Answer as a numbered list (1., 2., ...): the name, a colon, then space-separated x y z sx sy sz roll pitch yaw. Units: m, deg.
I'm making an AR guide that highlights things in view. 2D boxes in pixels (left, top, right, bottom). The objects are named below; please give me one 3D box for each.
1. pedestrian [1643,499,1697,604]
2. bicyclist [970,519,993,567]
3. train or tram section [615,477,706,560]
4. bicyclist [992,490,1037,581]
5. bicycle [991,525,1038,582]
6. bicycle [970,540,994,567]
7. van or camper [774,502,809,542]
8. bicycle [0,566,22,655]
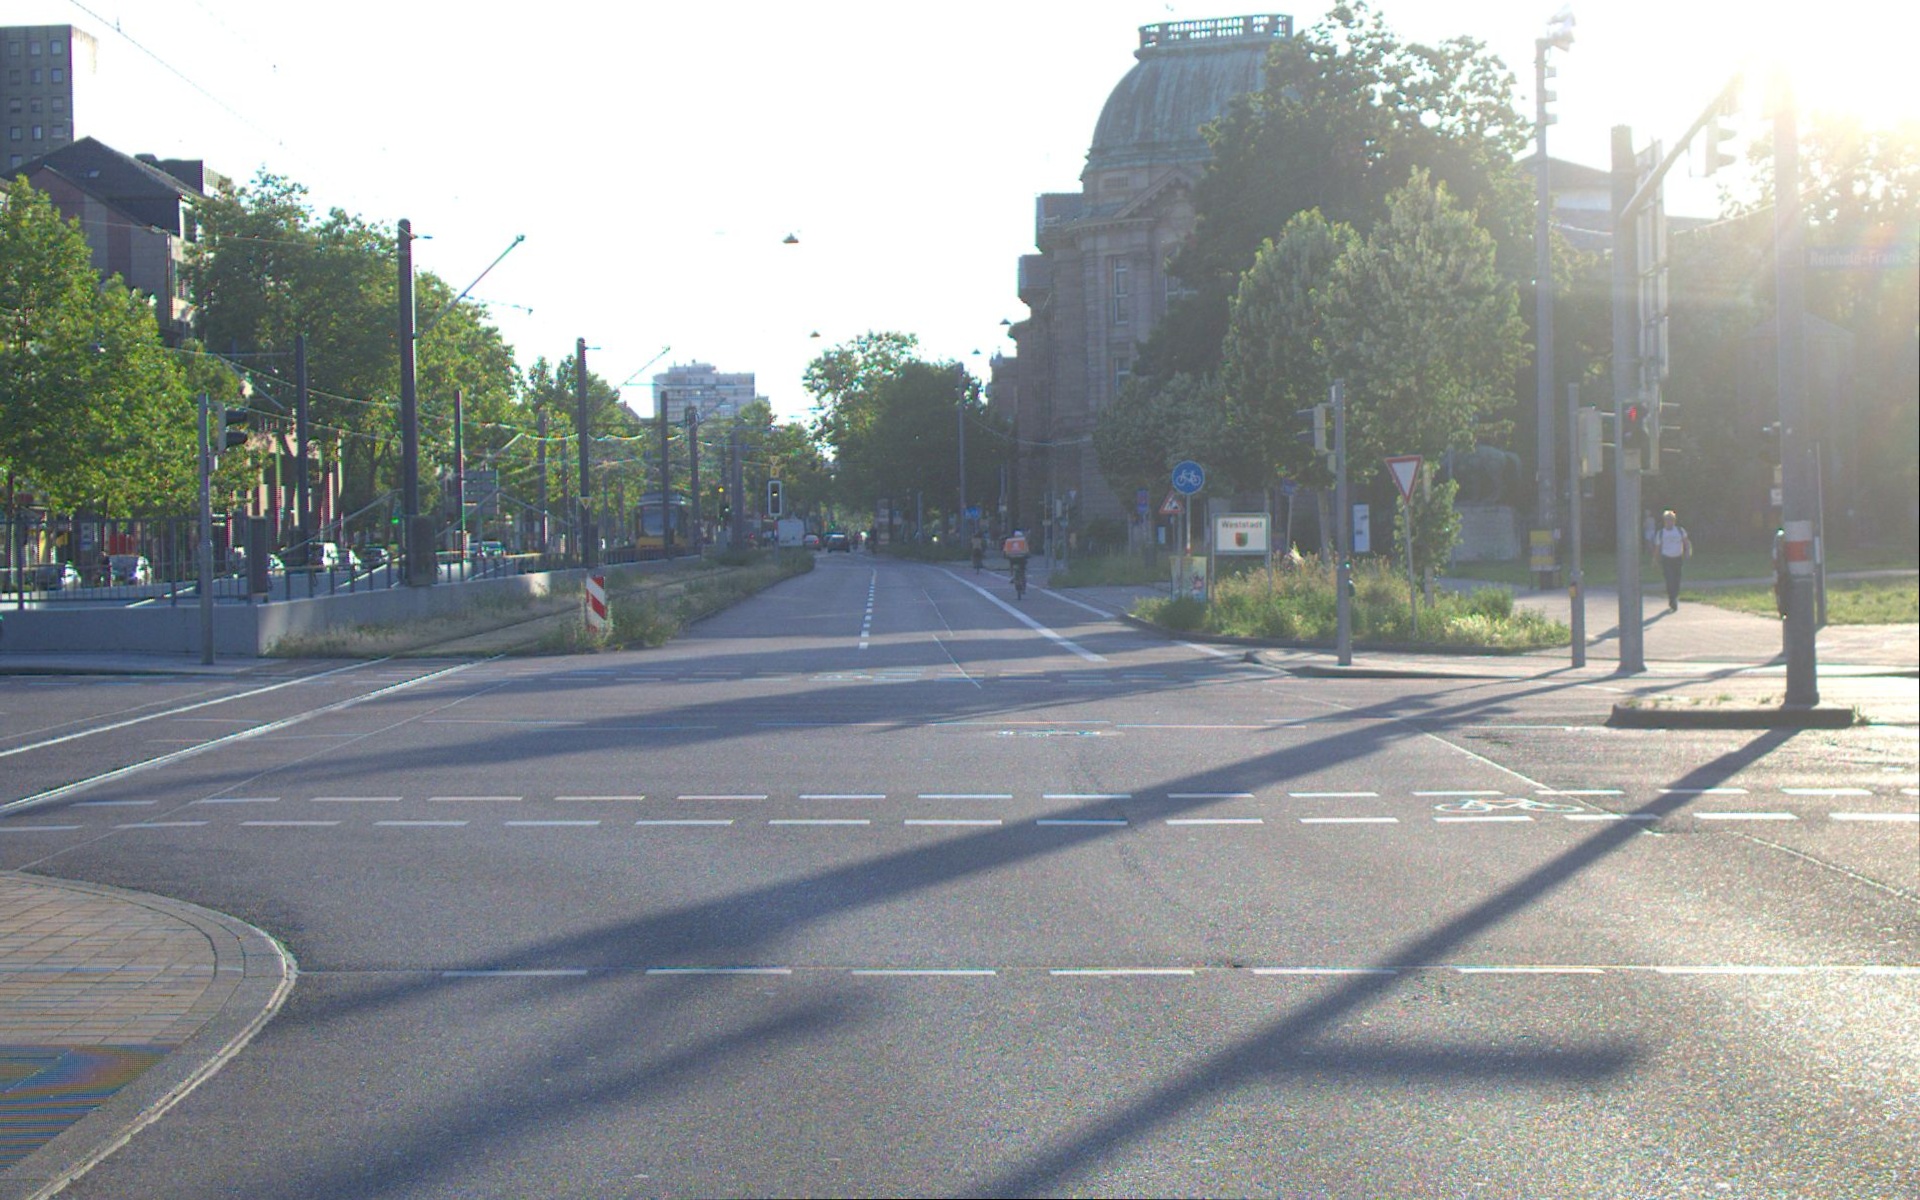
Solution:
1. pedestrian: 12.242 -0.839 59.263 0.833 1.797 0.810 -1 1 15
2. bicyclist: 0.908 -2.394 144.622 0.925 2.007 0.850 -1 1 -1
3. train or tram section: -15.210 -4.198 174.783 4.385 3.836 11.413 -1 3 -5
4. bicyclist: 1.359 -1.634 86.497 1.082 2.268 0.986 0 1 -1
5. bicycle: 1.357 -1.173 86.610 1.098 1.394 2.832 -1 1 -1
6. bicycle: 0.926 -1.960 144.590 0.924 1.108 2.333 -1 1 -1
7. van or camper: -12.056 -5.594 246.812 2.449 2.761 5.601 -1 1 -2
8. bicycle: -12.639 0.131 42.134 2.163 1.080 0.539 0 0 -9
